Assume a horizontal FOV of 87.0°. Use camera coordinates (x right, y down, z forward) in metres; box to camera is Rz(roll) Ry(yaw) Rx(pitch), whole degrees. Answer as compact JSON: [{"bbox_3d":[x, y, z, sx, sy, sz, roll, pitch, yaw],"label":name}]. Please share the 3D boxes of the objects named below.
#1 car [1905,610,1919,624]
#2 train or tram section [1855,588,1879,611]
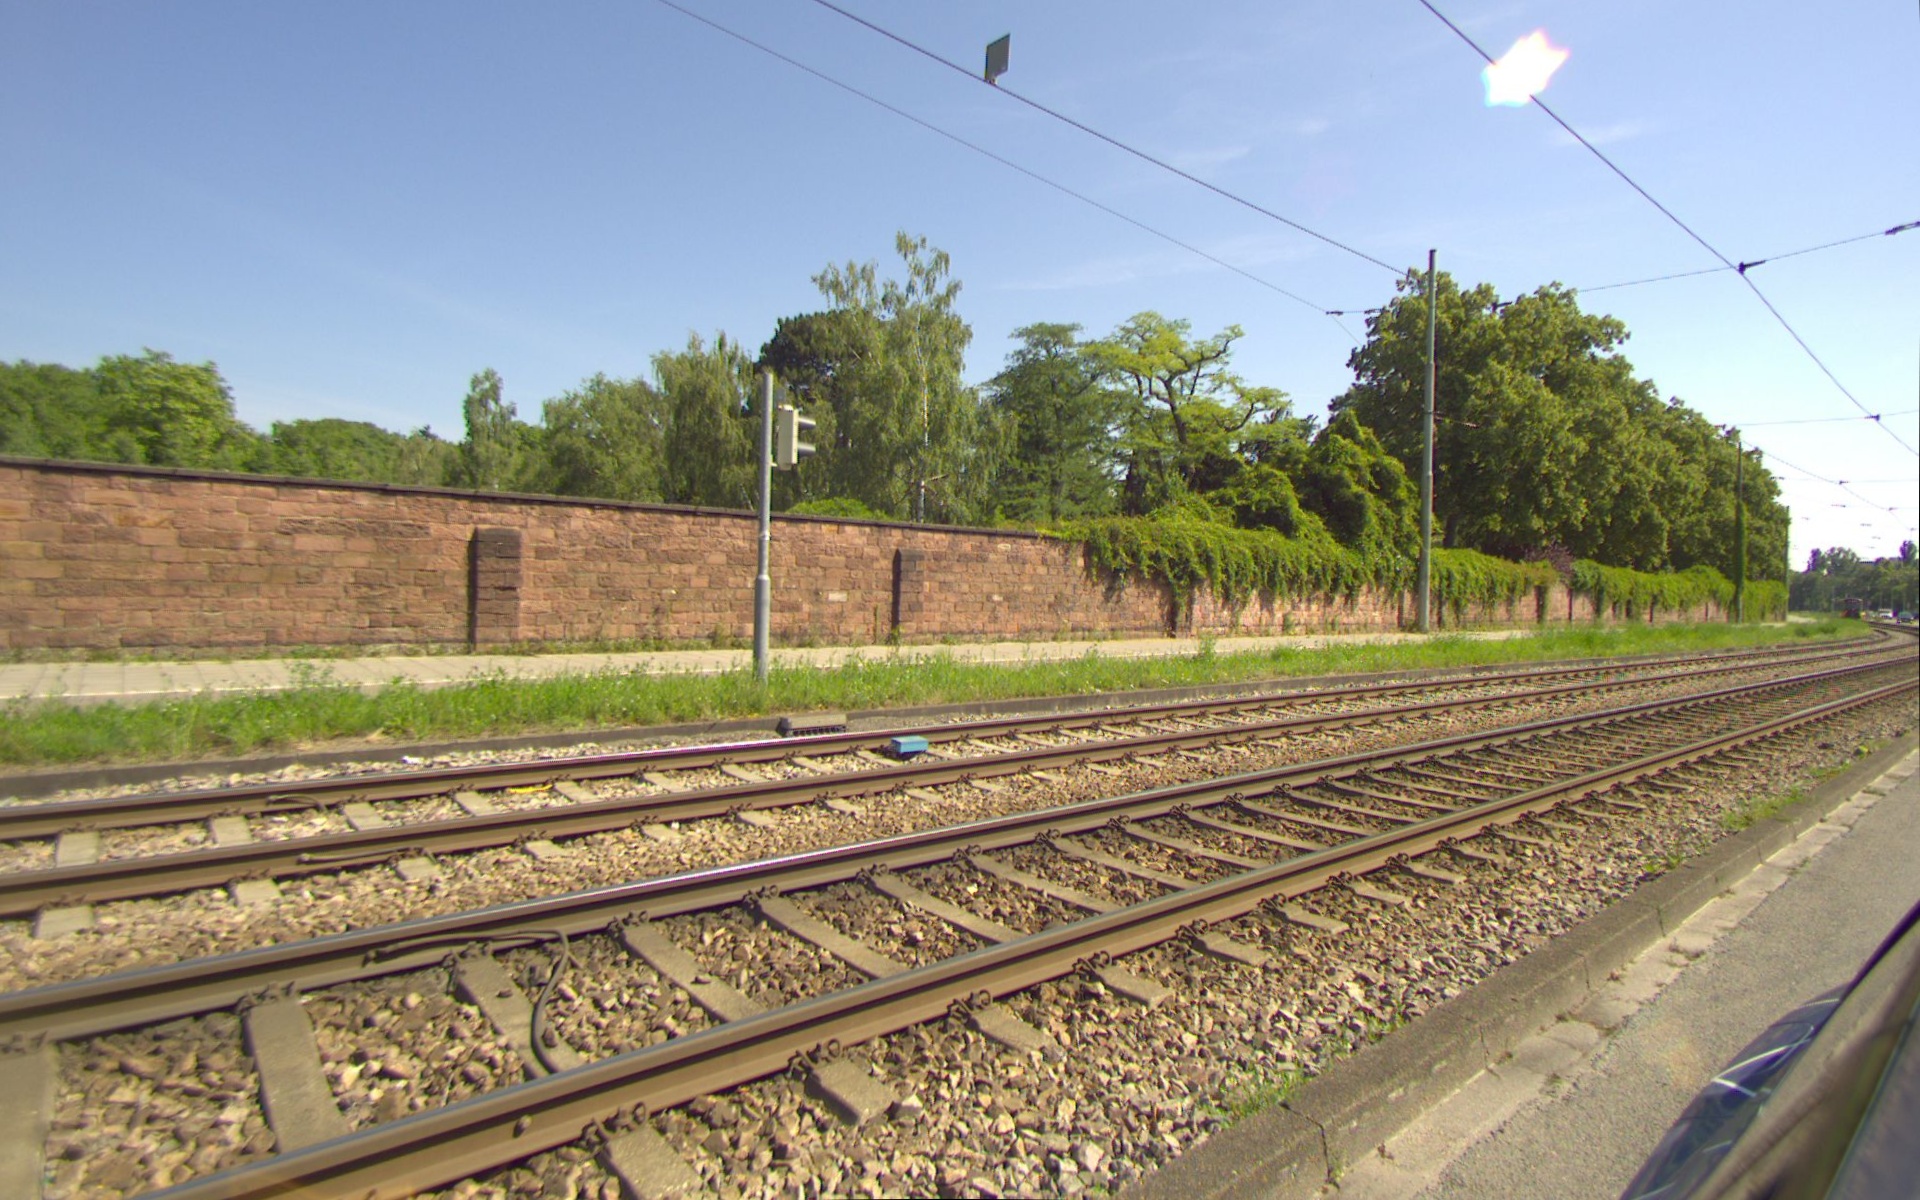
[{"bbox_3d":[130.763,2.320,138.455,3.933,1.738,1.851,-1,0,-43],"label":"car"},{"bbox_3d":[152.109,-0.060,169.592,2.713,3.785,18.585,1,0,43],"label":"train or tram section"}]
